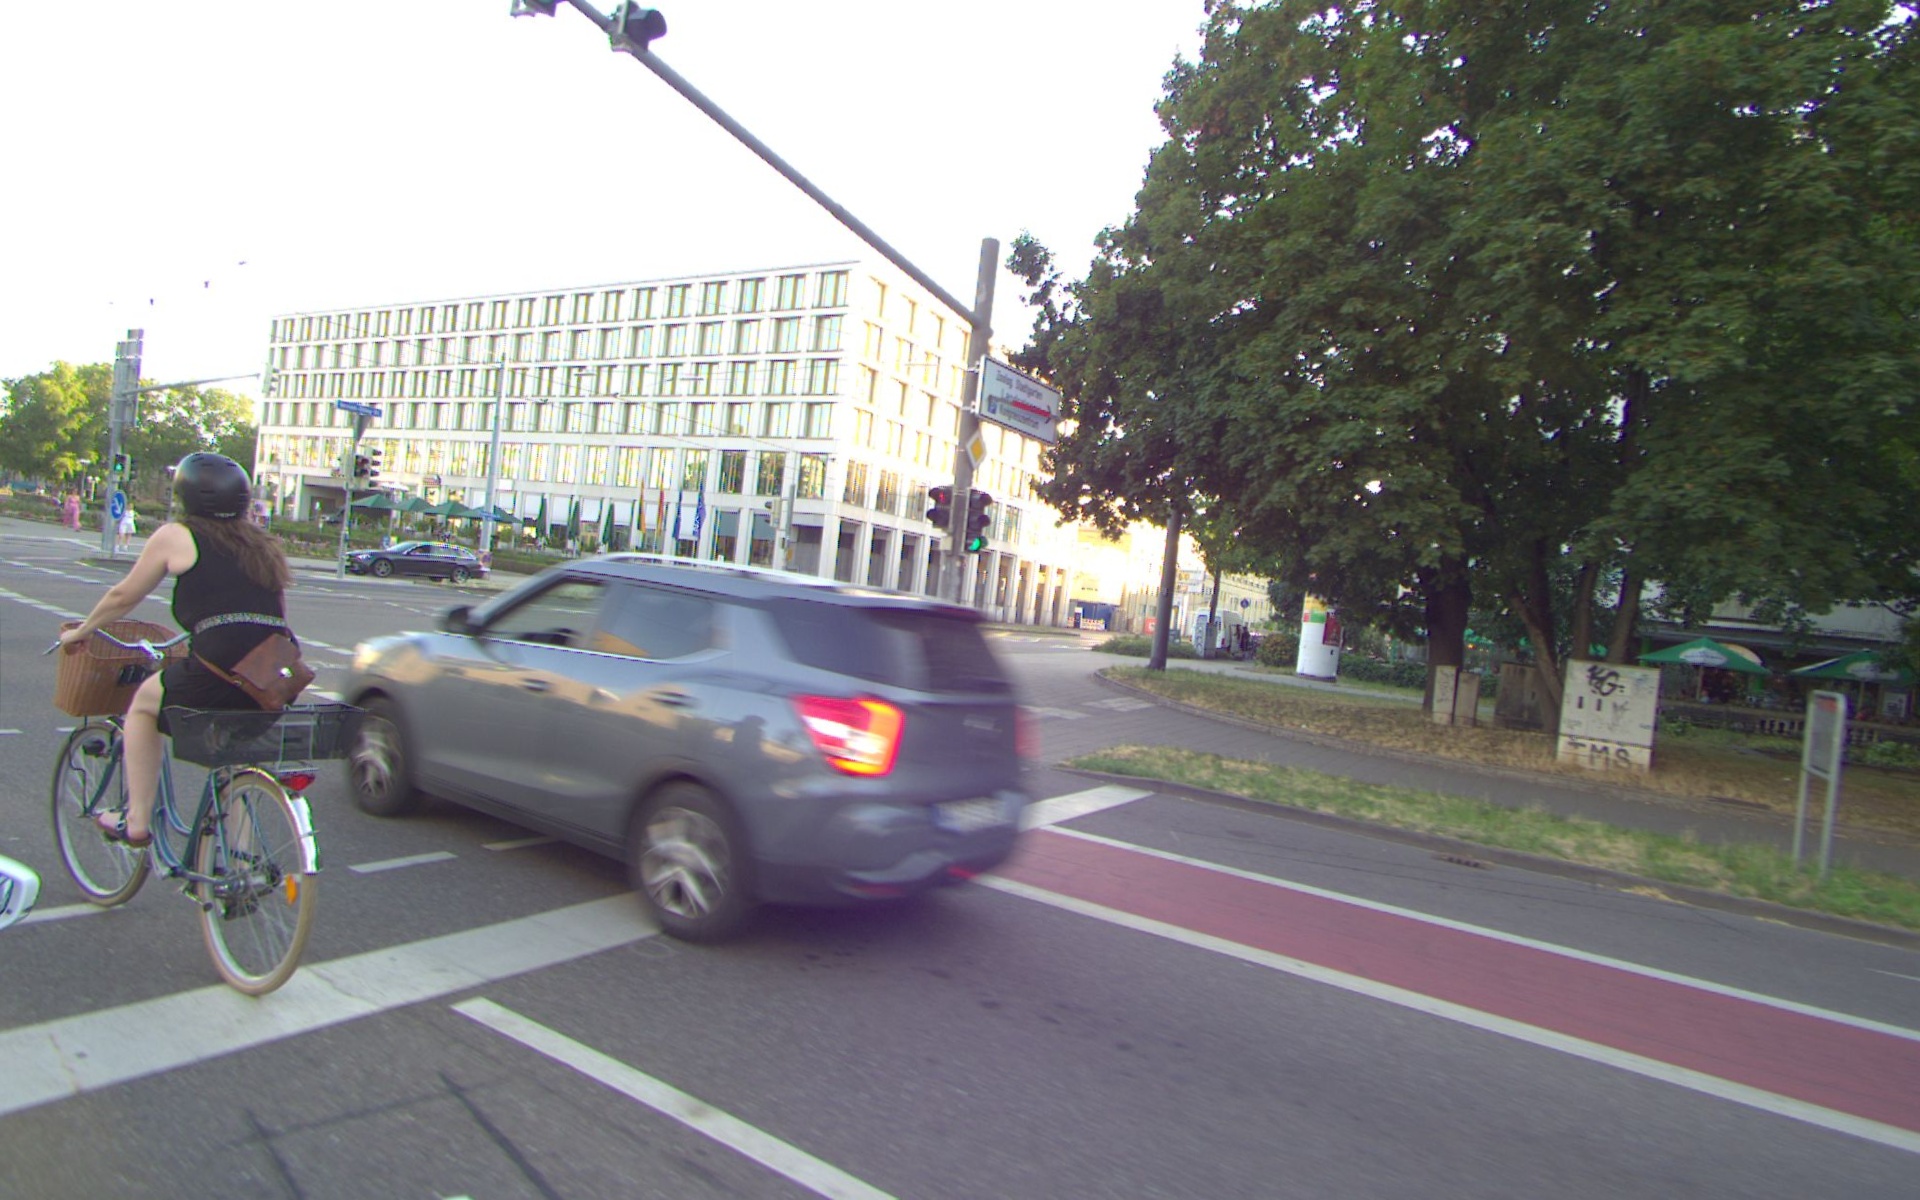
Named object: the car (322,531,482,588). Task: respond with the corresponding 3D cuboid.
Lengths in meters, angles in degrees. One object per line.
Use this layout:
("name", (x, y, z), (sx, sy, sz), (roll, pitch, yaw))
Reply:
("car", (-20.957, -1.500, 37.995), (1.968, 1.534, 4.826), (7, 0, 34))

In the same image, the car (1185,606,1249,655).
("car", (13.902, 1.667, 54.221), (1.967, 2.318, 4.605), (6, 0, 31))

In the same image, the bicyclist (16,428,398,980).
("bicyclist", (-2.634, 0.293, 3.519), (0.982, 1.655, 0.600), (7, 0, 32))

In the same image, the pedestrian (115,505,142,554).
("pedestrian", (-27.723, -2.337, 33.533), (0.402, 1.559, 0.491), (7, 1, 31))

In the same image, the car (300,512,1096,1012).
("car", (-1.592, 0.569, 5.577), (4.146, 1.647, 1.779), (7, 0, 32))

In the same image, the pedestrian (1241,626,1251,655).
("pedestrian", (15.491, 2.178, 54.436), (0.302, 1.525, 0.336), (6, -1, 31))

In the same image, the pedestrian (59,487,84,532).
("pedestrian", (-34.381, -3.505, 38.933), (0.557, 1.678, 0.460), (7, 2, 31))

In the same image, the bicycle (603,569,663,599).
("bicycle", (-14.526, -0.692, 44.752), (0.592, 1.120, 2.775), (7, 0, 29))

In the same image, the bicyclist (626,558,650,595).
("bicyclist", (-14.383, -1.049, 44.924), (0.567, 1.556, 0.708), (7, 1, 29))

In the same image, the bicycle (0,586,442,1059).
("bicycle", (-2.763, 0.636, 3.567), (1.971, 1.146, 0.612), (7, -1, 32))
